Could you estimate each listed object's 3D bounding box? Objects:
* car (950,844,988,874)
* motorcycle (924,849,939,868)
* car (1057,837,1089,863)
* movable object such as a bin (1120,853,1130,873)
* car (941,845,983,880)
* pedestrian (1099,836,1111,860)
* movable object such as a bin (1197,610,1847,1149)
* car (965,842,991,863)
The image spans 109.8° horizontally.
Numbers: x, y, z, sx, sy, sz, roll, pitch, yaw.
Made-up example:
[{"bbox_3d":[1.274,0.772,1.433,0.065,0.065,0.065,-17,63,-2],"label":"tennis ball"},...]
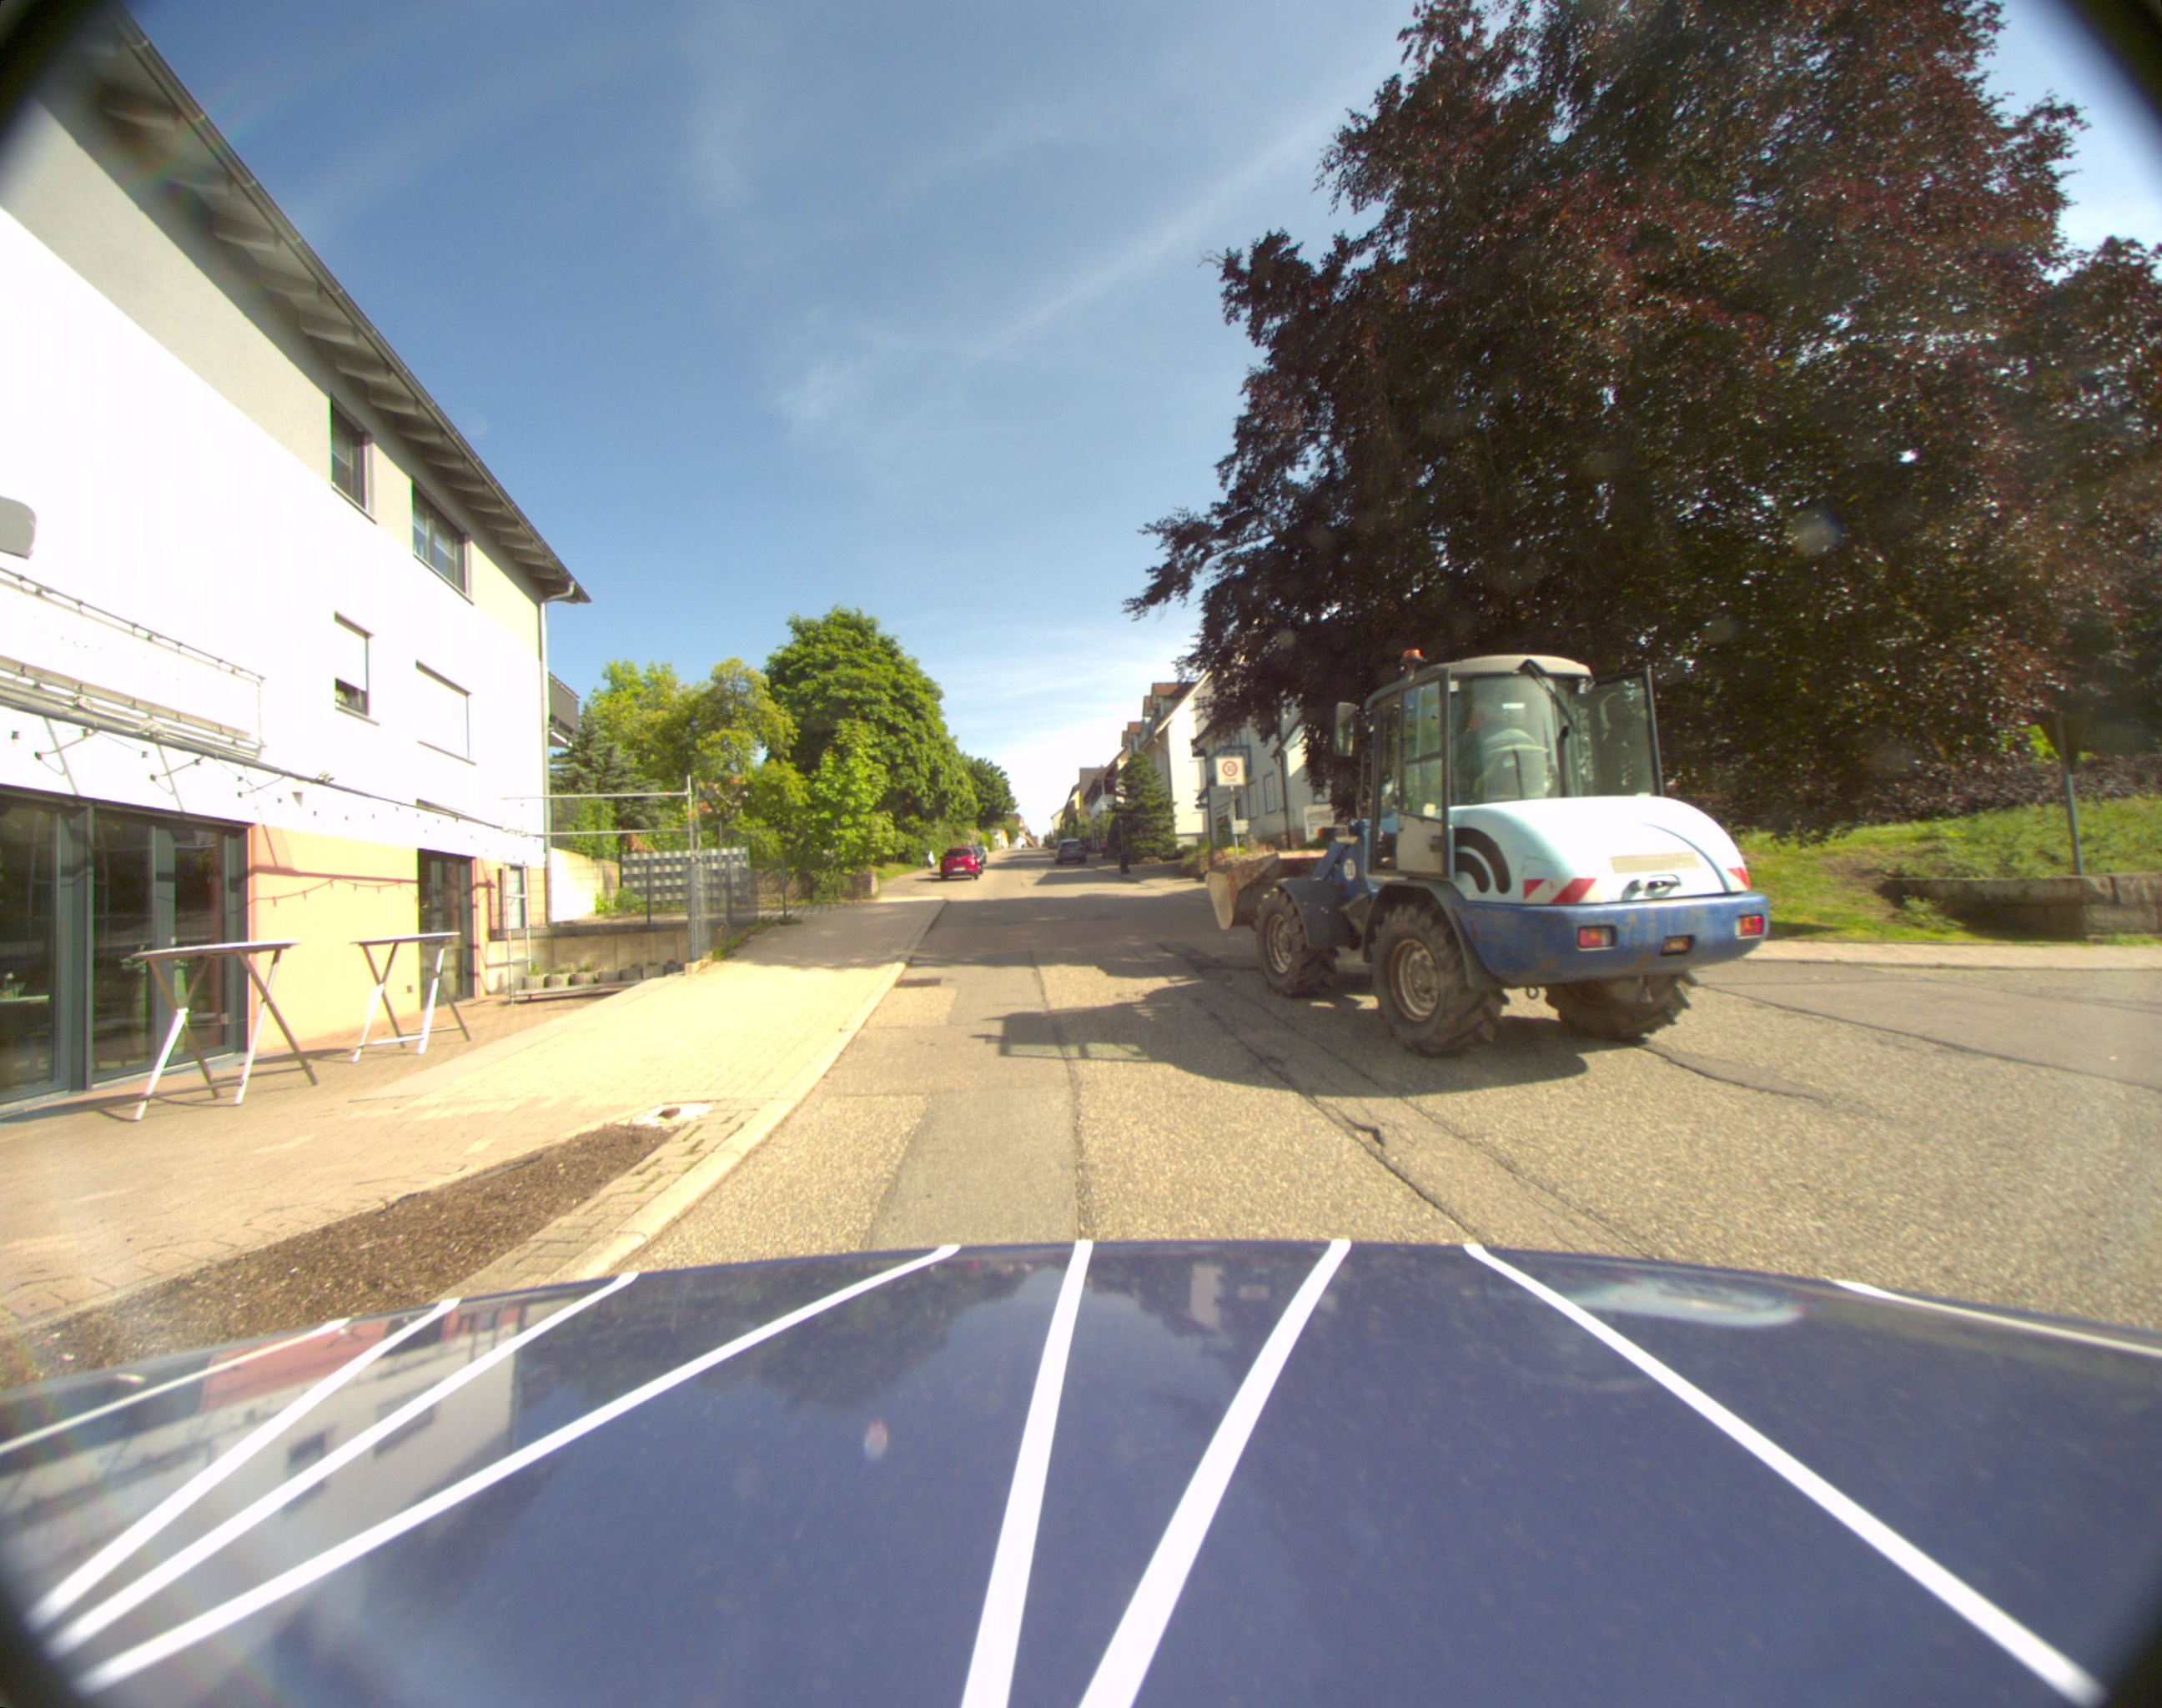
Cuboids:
[{"bbox_3d":[-5.977,0.249,40.801,1.776,1.462,3.808,-3,1,-5],"label":"car"},{"bbox_3d":[-9.809,0.266,49.811,0.785,1.175,2.186,-2,1,-7],"label":"motorcycle"},{"bbox_3d":[-0.584,-0.301,51.945,1.808,1.592,3.808,-3,1,-5],"label":"car"},{"bbox_3d":[1.898,0.381,33.022,0.351,0.859,0.395,-2,1,-5],"label":"movable object such as a bin"},{"bbox_3d":[-5.447,0.353,35.223,1.624,1.489,3.808,-3,1,-5],"label":"car"},{"bbox_3d":[1.586,-0.405,50.201,0.668,1.566,0.780,-2,2,3],"label":"pedestrian"},{"bbox_3d":[2.839,0.068,6.567,2.000,2.754,5.099,-2,1,-10],"label":"movable object such as a bin"},{"bbox_3d":[-7.988,-0.136,59.204,1.776,1.462,3.808,-3,1,-5],"label":"car"}]
